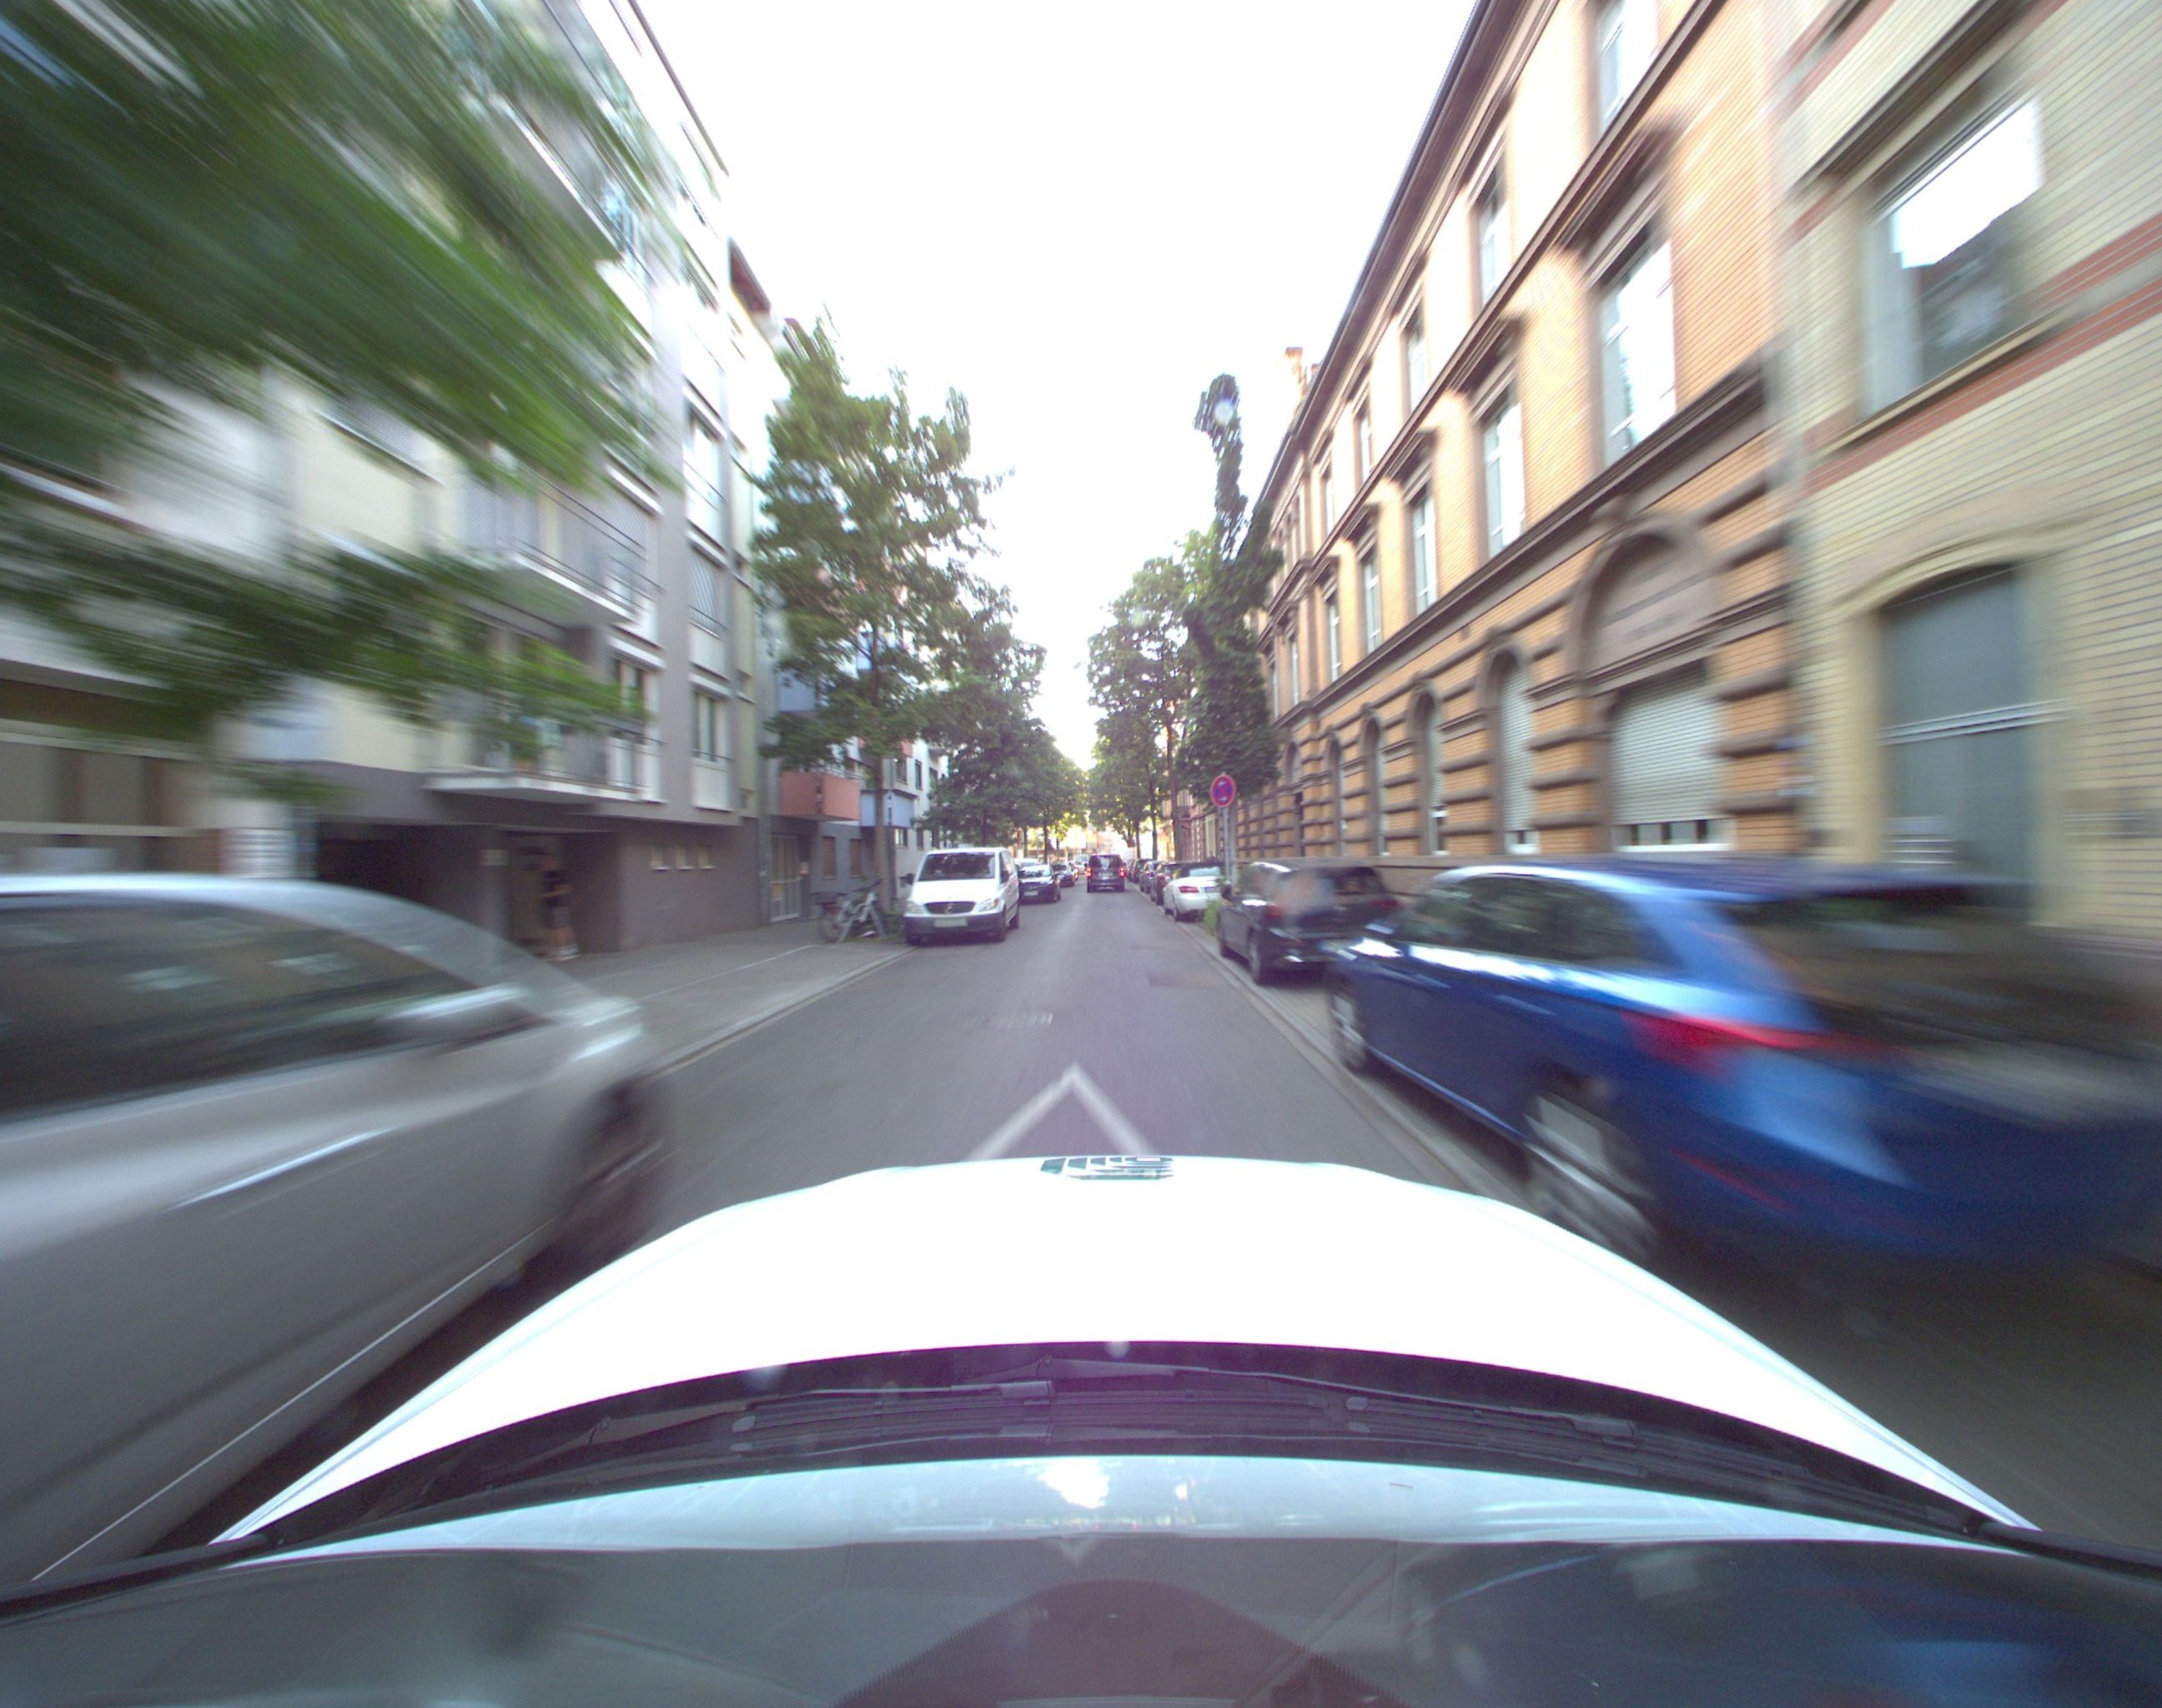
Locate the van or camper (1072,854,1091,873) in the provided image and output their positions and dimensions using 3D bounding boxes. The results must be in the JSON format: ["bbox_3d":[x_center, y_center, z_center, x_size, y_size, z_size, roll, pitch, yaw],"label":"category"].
[{"bbox_3d":[0.073,0.996,89.261,1.854,1.983,4.274,-2,0,3],"label":"van or camper"}]

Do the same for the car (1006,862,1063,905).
[{"bbox_3d":[-1.707,1.085,31.556,1.824,1.517,4.516,-2,-1,1],"label":"car"}]

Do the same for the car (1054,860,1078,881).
[{"bbox_3d":[-1.095,1.188,60.548,1.625,1.430,3.543,-2,0,0],"label":"car"}]

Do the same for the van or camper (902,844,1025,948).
[{"bbox_3d":[-2.334,0.775,17.380,1.871,1.843,4.752,-2,0,0],"label":"van or camper"}]

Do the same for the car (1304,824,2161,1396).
[{"bbox_3d":[2.600,0.679,4.300,1.622,1.466,4.244,-2,0,0],"label":"car"}]

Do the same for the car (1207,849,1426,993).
[{"bbox_3d":[2.822,0.722,10.747,1.705,1.478,4.193,-2,0,1],"label":"car"}]

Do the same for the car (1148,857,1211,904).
[{"bbox_3d":[3.337,0.881,28.262,1.716,1.450,4.216,-3,-1,1],"label":"car"}]

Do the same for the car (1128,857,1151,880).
[{"bbox_3d":[4.054,0.960,56.184,1.544,1.496,3.615,-1,0,4],"label":"car"}]

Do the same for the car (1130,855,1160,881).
[{"bbox_3d":[4.060,0.881,52.175,1.606,1.559,3.765,-3,0,0],"label":"car"}]

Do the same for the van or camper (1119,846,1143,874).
[{"bbox_3d":[4.887,0.621,80.184,1.987,2.599,5.424,-1,0,0],"label":"van or camper"}]

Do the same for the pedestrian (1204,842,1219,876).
[{"bbox_3d":[6.423,0.241,40.116,0.624,1.648,0.532,-1,-1,2],"label":"pedestrian"}]

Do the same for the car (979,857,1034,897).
[{"bbox_3d":[-3.425,1.033,38.205,2.027,1.672,4.648,1,0,1],"label":"car"}]

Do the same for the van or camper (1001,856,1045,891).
[{"bbox_3d":[-3.068,1.008,43.894,1.924,1.760,4.465,1,0,0],"label":"van or camper"}]

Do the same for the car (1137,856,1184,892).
[{"bbox_3d":[3.679,0.884,38.167,1.692,1.483,3.999,-4,0,-1],"label":"car"}]

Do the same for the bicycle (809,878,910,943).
[{"bbox_3d":[-4.441,1.103,16.406,0.690,1.163,1.834,-3,0,43],"label":"bicycle"}]

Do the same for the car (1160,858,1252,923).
[{"bbox_3d":[3.075,0.841,20.928,1.688,1.401,4.647,-3,0,1],"label":"car"}]

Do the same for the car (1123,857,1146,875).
[{"bbox_3d":[4.520,1.011,69.201,1.743,1.471,3.777,-1,0,2],"label":"car"}]

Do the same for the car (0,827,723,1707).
[{"bbox_3d":[-2.630,0.772,2.116,1.659,1.563,3.997,-2,0,-2],"label":"car"}]

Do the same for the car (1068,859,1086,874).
[{"bbox_3d":[-0.400,1.280,84.162,1.735,1.404,3.375,-2,0,1],"label":"car"}]

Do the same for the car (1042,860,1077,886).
[{"bbox_3d":[-1.279,1.136,49.784,1.839,1.451,4.504,-1,0,2],"label":"car"}]

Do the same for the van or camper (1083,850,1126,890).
[{"bbox_3d":[1.257,0.773,41.388,2.026,1.897,4.274,-1,0,3],"label":"van or camper"}]
